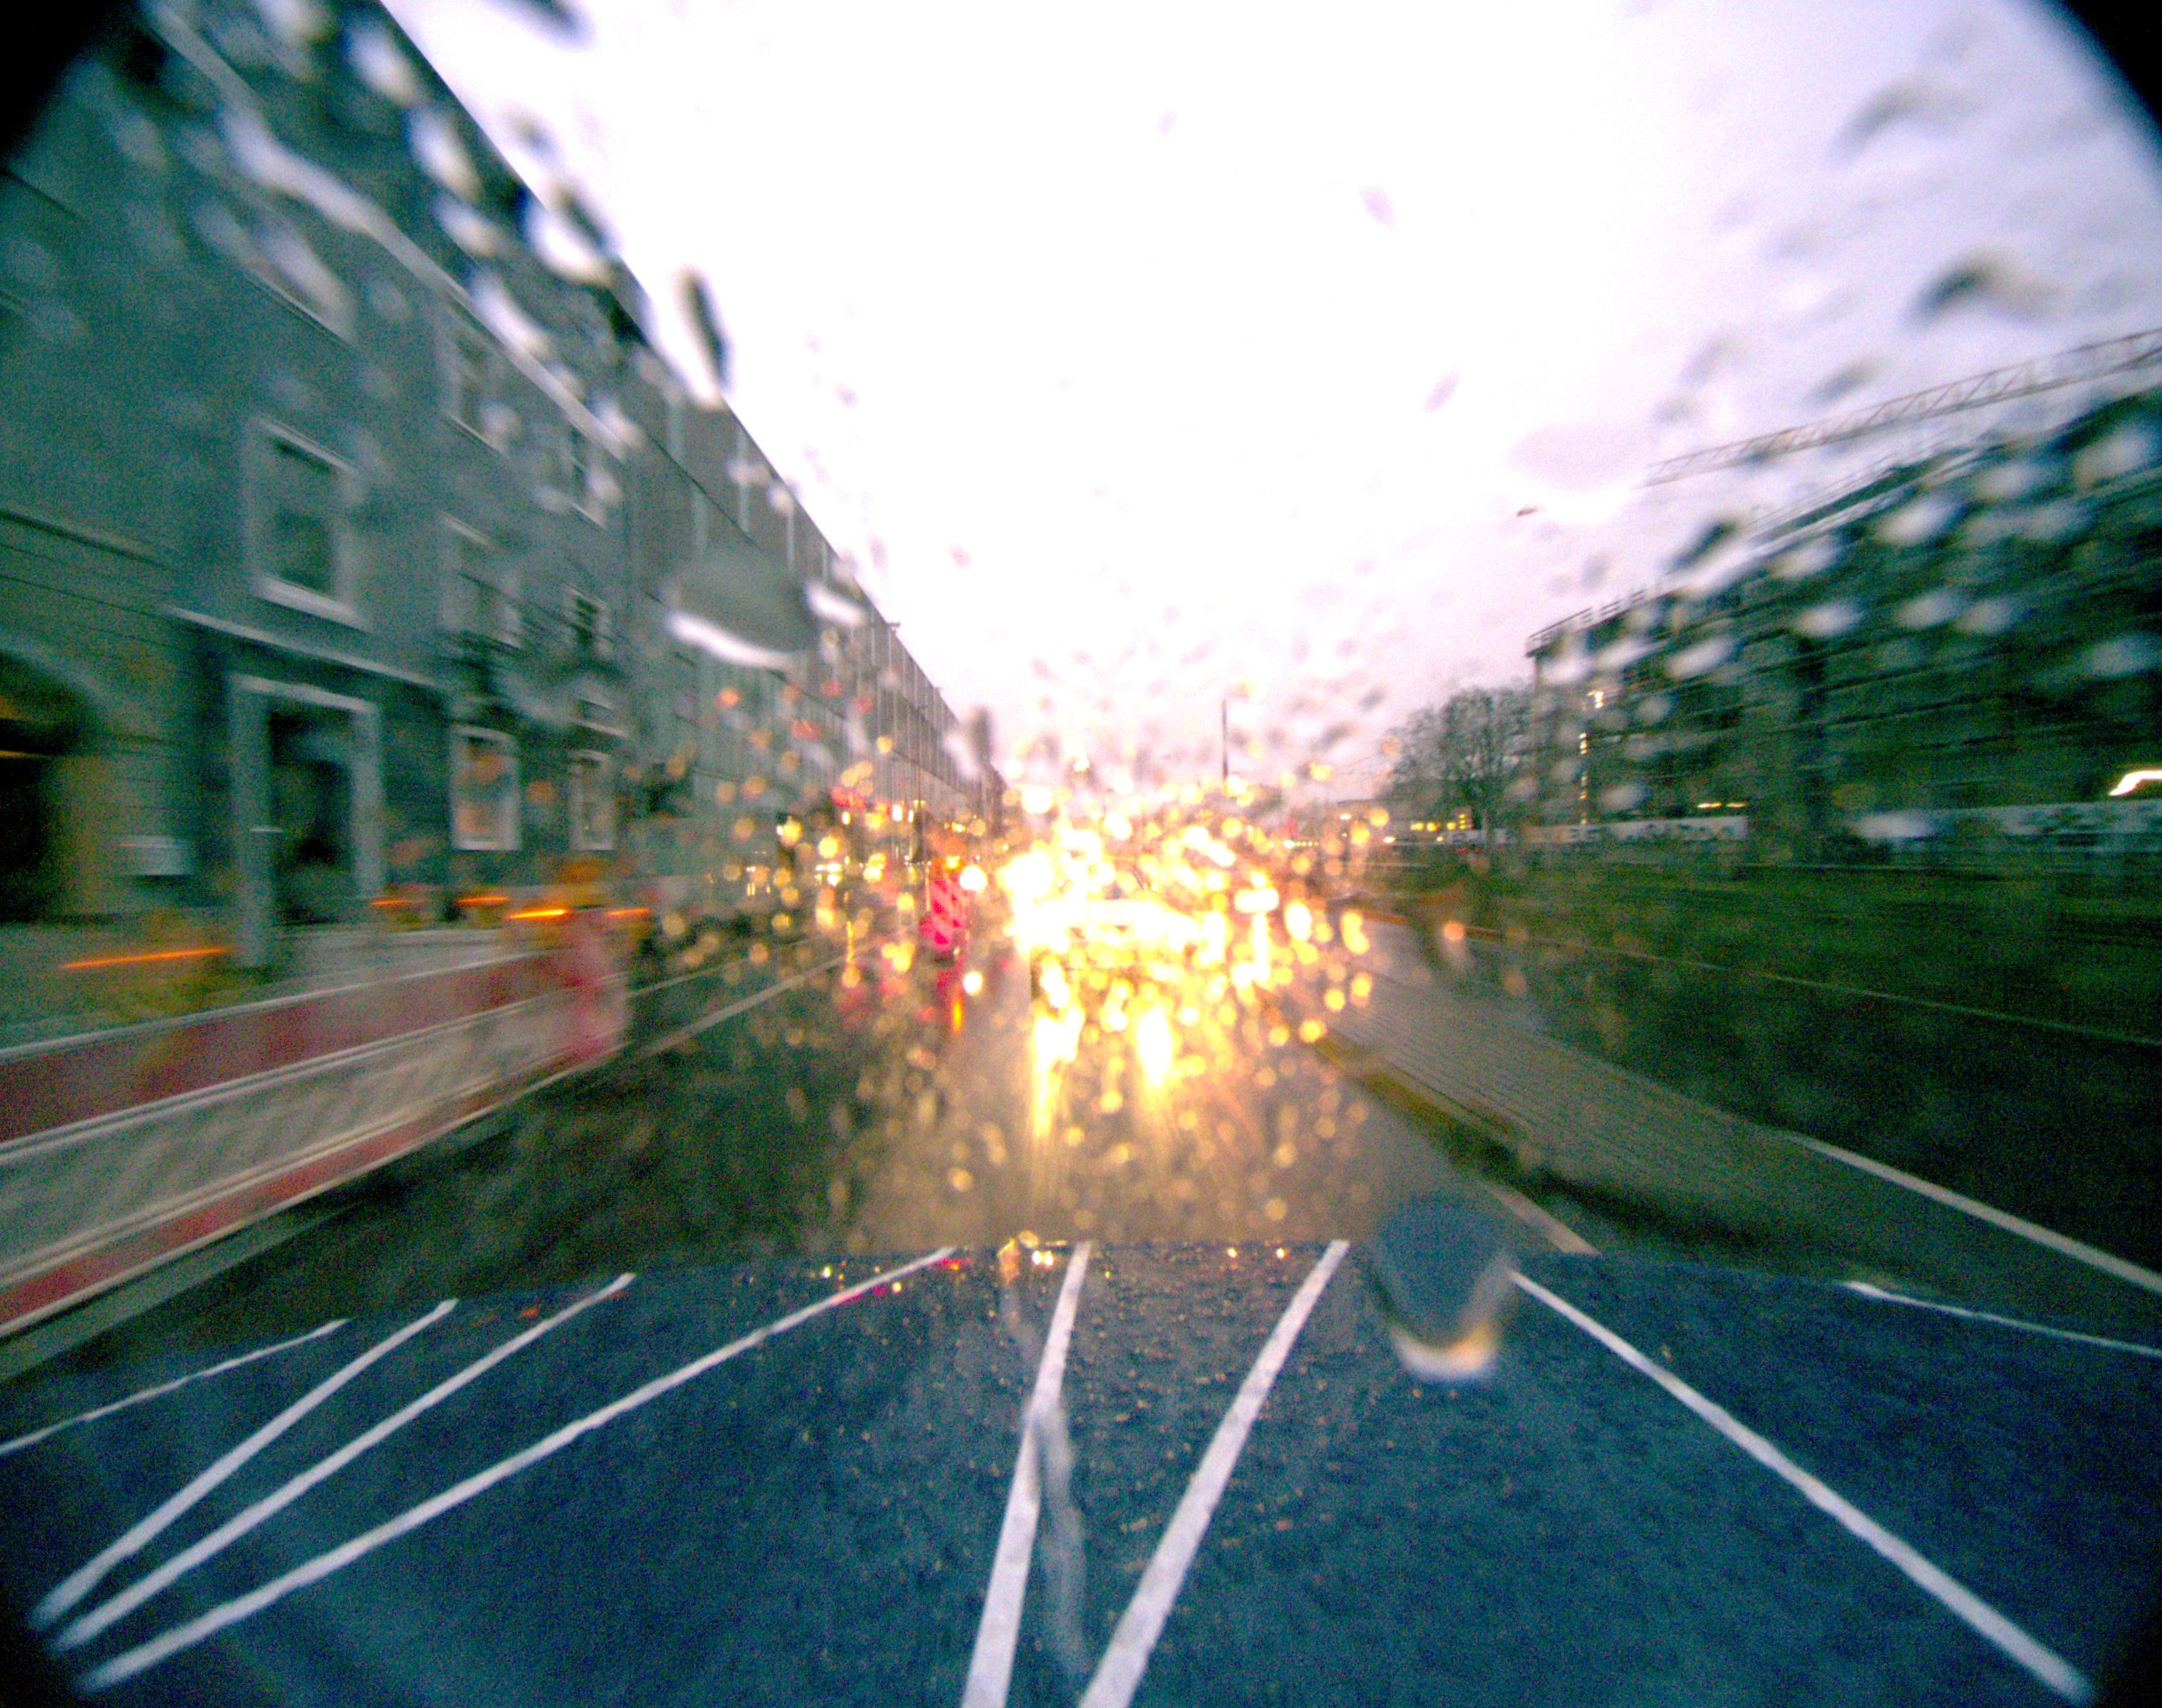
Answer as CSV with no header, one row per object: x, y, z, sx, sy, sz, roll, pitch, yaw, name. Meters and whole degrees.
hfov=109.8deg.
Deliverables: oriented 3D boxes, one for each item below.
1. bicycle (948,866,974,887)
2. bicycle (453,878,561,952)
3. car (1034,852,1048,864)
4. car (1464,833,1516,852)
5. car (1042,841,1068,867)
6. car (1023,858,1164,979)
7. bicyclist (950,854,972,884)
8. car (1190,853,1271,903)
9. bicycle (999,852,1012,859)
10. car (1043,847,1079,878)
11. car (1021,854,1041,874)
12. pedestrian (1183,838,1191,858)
-6.228,1.162,39.595,0.945,0.993,2.240,-2,1,-1,bicycle
-10.860,1.120,14.471,0.684,1.215,1.904,1,1,-3,bicycle
-5.710,0.549,108.964,1.868,1.652,3.985,-2,1,-2,car
32.902,-0.927,61.245,1.687,1.406,4.339,-2,0,-1,car
-1.981,-0.041,58.900,1.865,1.867,3.999,-2,1,-1,car
0.157,0.863,12.154,1.814,1.464,4.138,-2,1,0,car
-6.225,0.767,39.484,0.945,1.454,1.066,-2,1,-1,bicyclist
4.766,0.705,24.729,1.809,1.445,4.004,-1,1,0,car
-11.409,0.226,114.631,1.908,1.168,0.666,0,1,-2,bicycle
-1.150,0.493,45.761,1.999,1.673,3.999,-2,1,0,car
-5.425,1.047,82.847,1.999,2.002,3.998,-2,1,-2,car
9.153,-0.515,65.513,0.585,1.692,0.740,-2,1,9,pedestrian
